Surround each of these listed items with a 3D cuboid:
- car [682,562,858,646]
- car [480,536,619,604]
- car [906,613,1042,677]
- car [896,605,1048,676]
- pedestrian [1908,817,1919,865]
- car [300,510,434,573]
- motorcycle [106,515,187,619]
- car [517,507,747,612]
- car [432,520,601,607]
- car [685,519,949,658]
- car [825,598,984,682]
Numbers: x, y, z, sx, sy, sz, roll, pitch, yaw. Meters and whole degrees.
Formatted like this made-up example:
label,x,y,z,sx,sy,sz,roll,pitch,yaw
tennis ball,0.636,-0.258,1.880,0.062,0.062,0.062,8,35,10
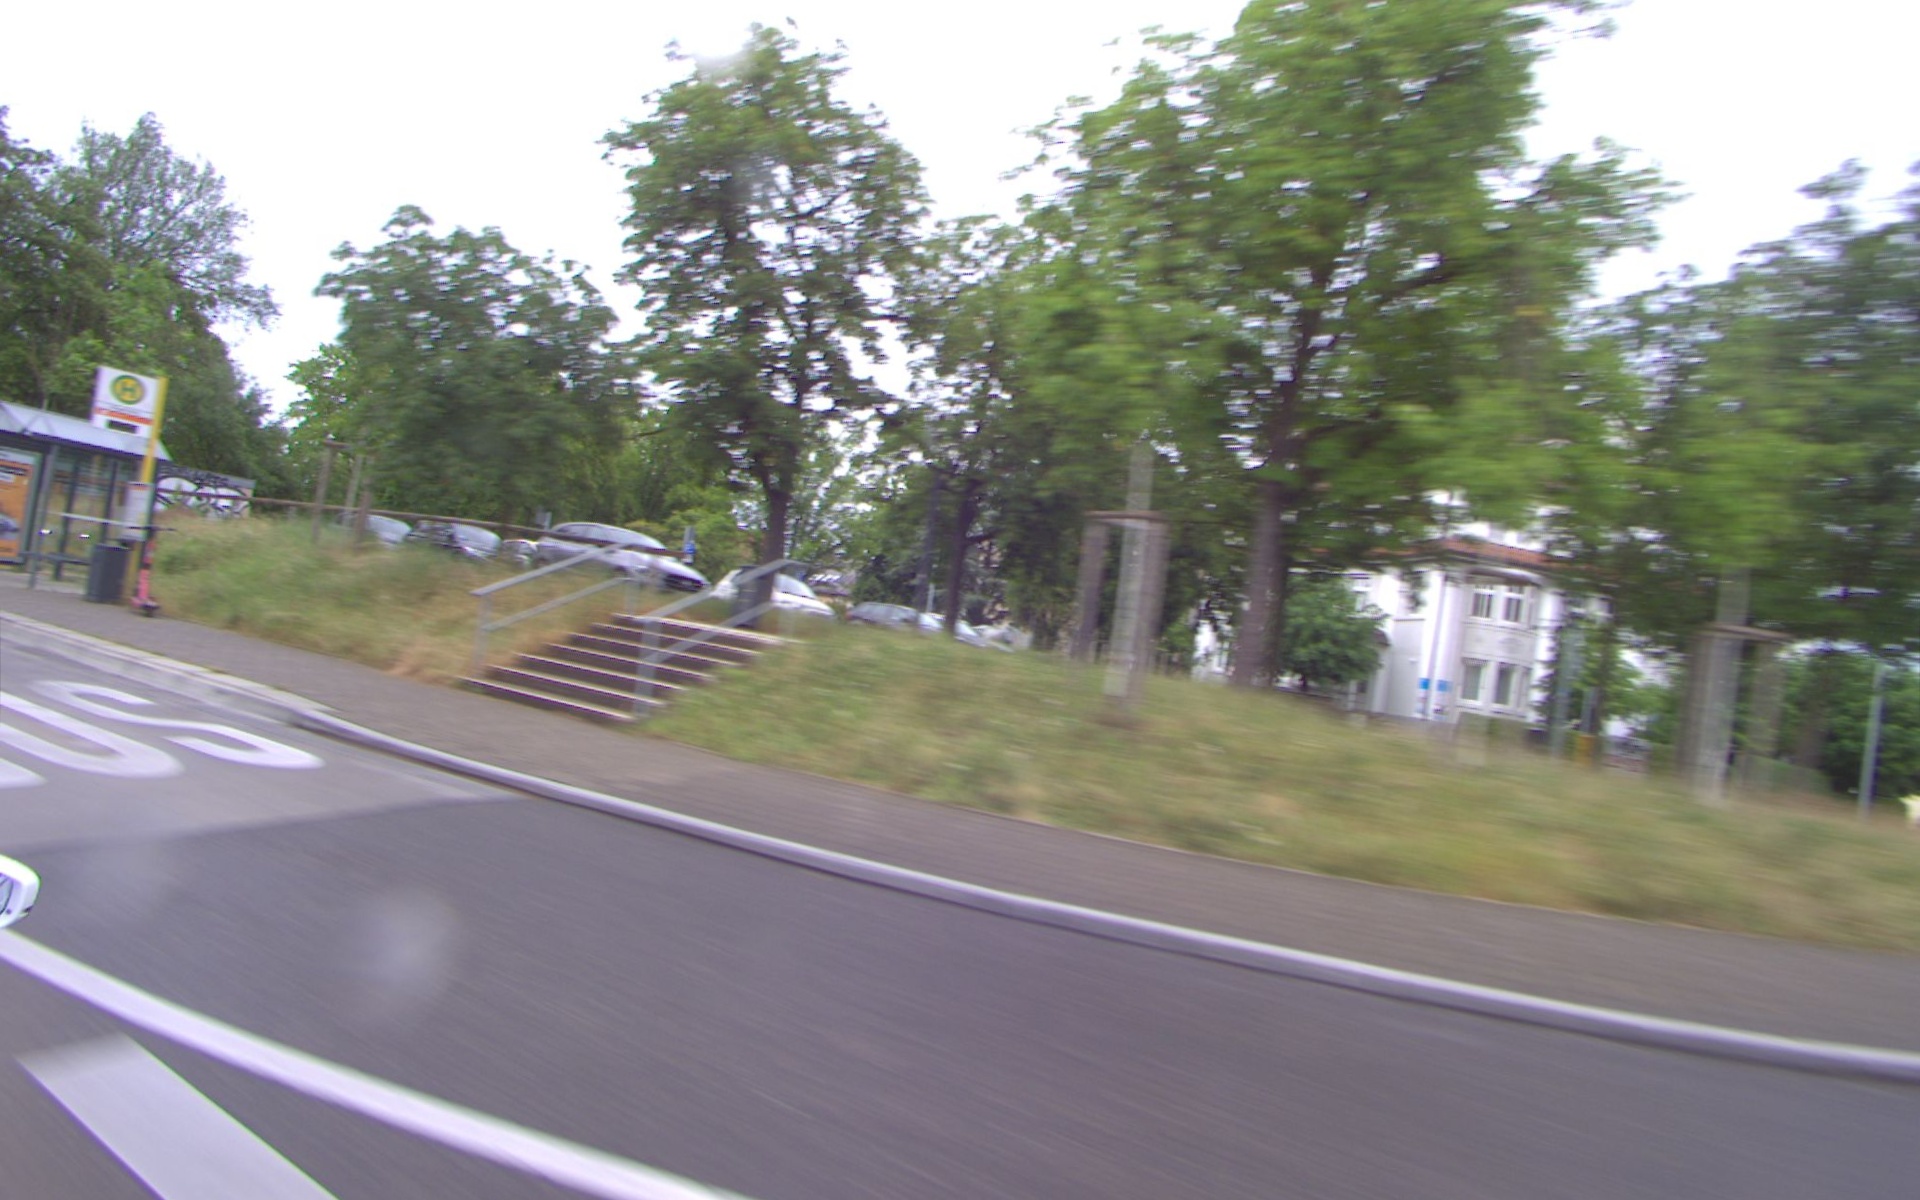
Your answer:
label,x,y,z,sx,sy,sz,roll,pitch,yaw
car,-4.711,0.070,24.779,4.006,1.494,1.890,5,-6,36
car,-12.418,-0.928,30.357,4.006,1.494,1.890,5,-6,36
car,0.434,1.468,33.391,4.005,1.494,1.890,5,-6,35
car,0.338,1.197,30.020,4.005,1.494,1.890,5,-6,35
pedestrian,38.550,9.663,40.111,0.807,1.855,0.696,7,-5,25
car,-19.249,-1.910,32.586,4.709,1.494,1.890,5,-6,36
motorcycle,-11.331,-0.479,13.998,0.588,1.303,1.518,9,-2,-45
car,-6.654,-0.829,20.323,4.214,1.494,2.001,6,-5,32
car,-12.088,-1.017,27.335,4.402,1.678,1.999,7,-6,35
car,-2.486,-0.207,17.391,3.933,1.678,2.002,7,-5,31
car,-1.602,1.130,28.596,3.937,1.678,1.999,7,-6,35
